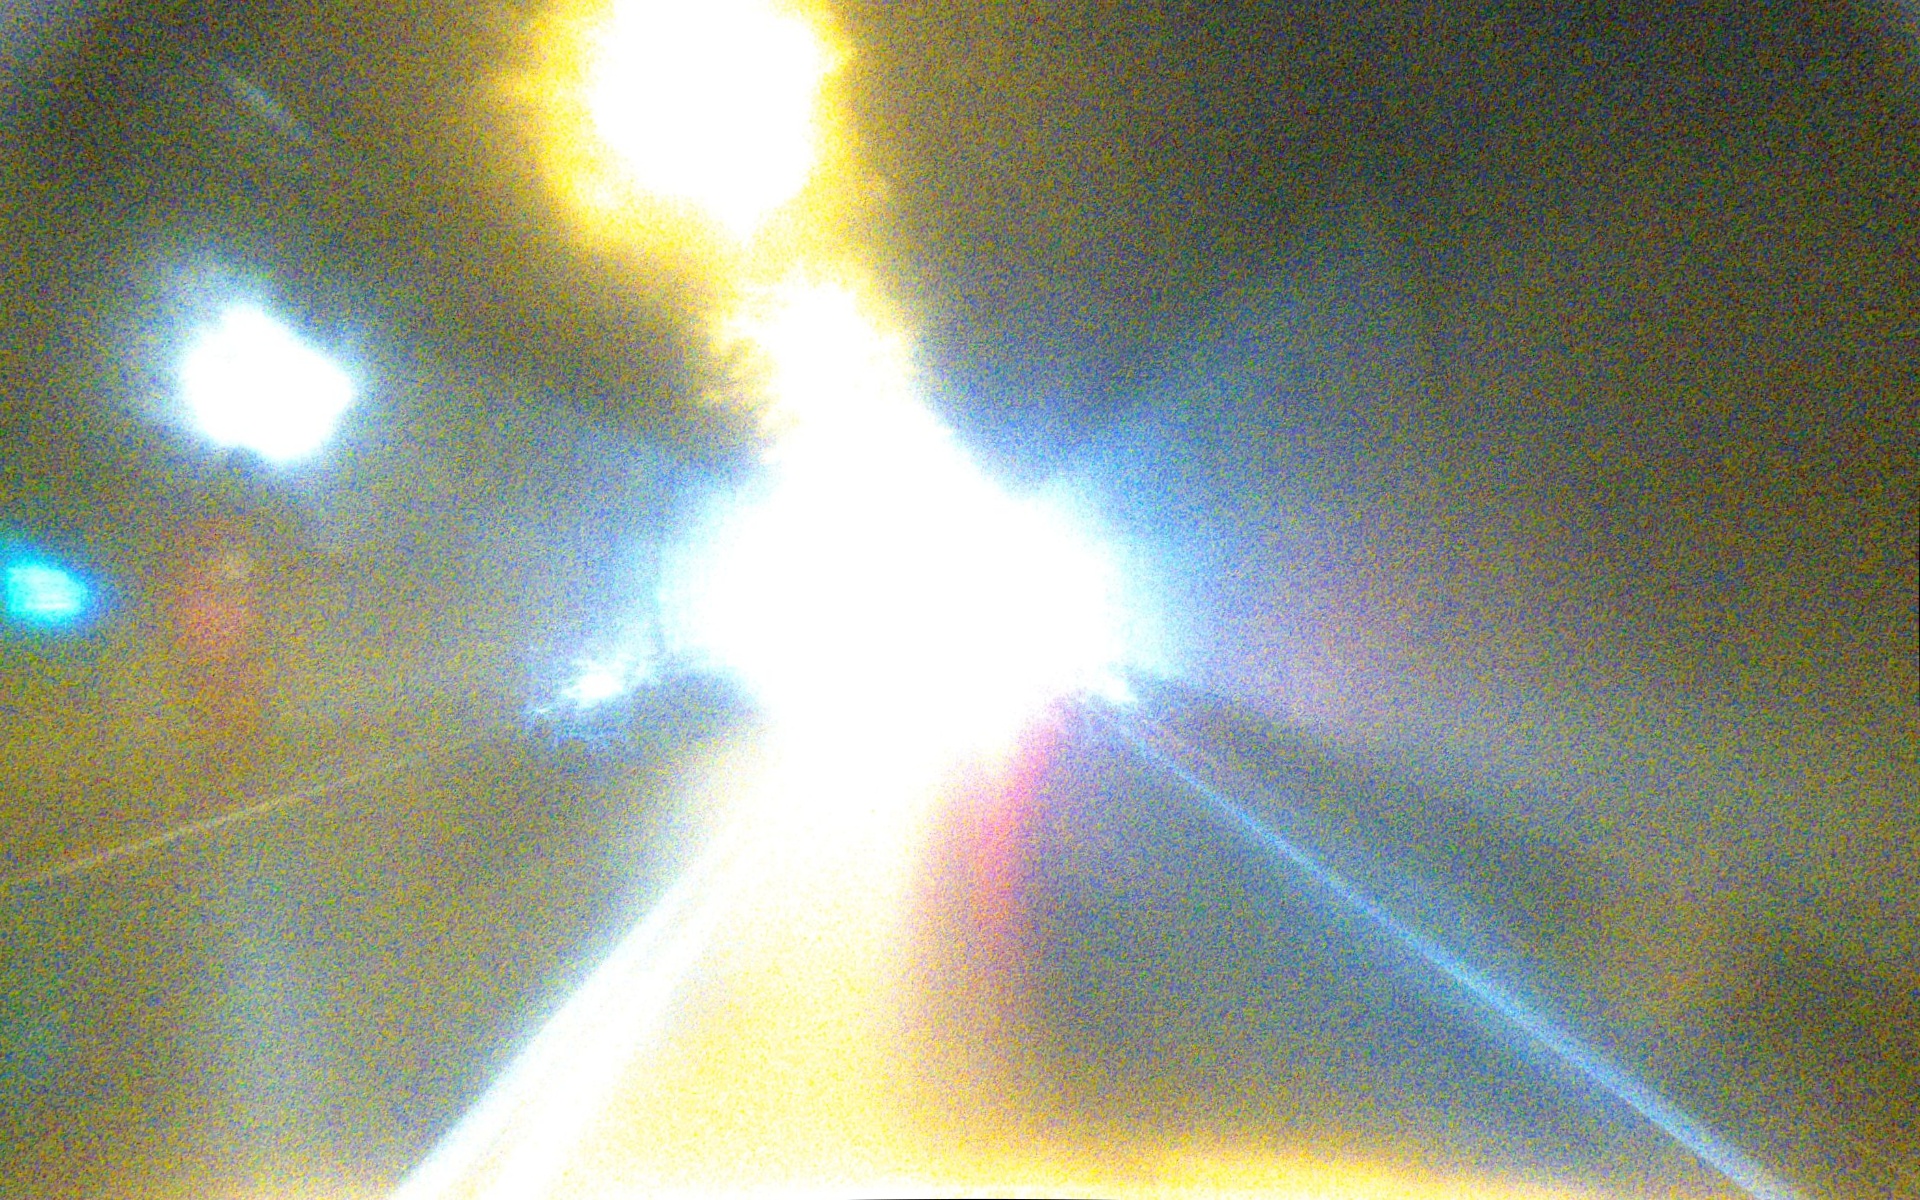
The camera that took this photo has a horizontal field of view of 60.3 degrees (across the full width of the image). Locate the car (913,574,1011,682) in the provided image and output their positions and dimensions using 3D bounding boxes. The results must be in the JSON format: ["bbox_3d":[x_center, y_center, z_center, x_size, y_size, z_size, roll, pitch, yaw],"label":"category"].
[{"bbox_3d":[0.032,0.435,29.357,1.602,1.788,4.145,0,1,0],"label":"car"}]
